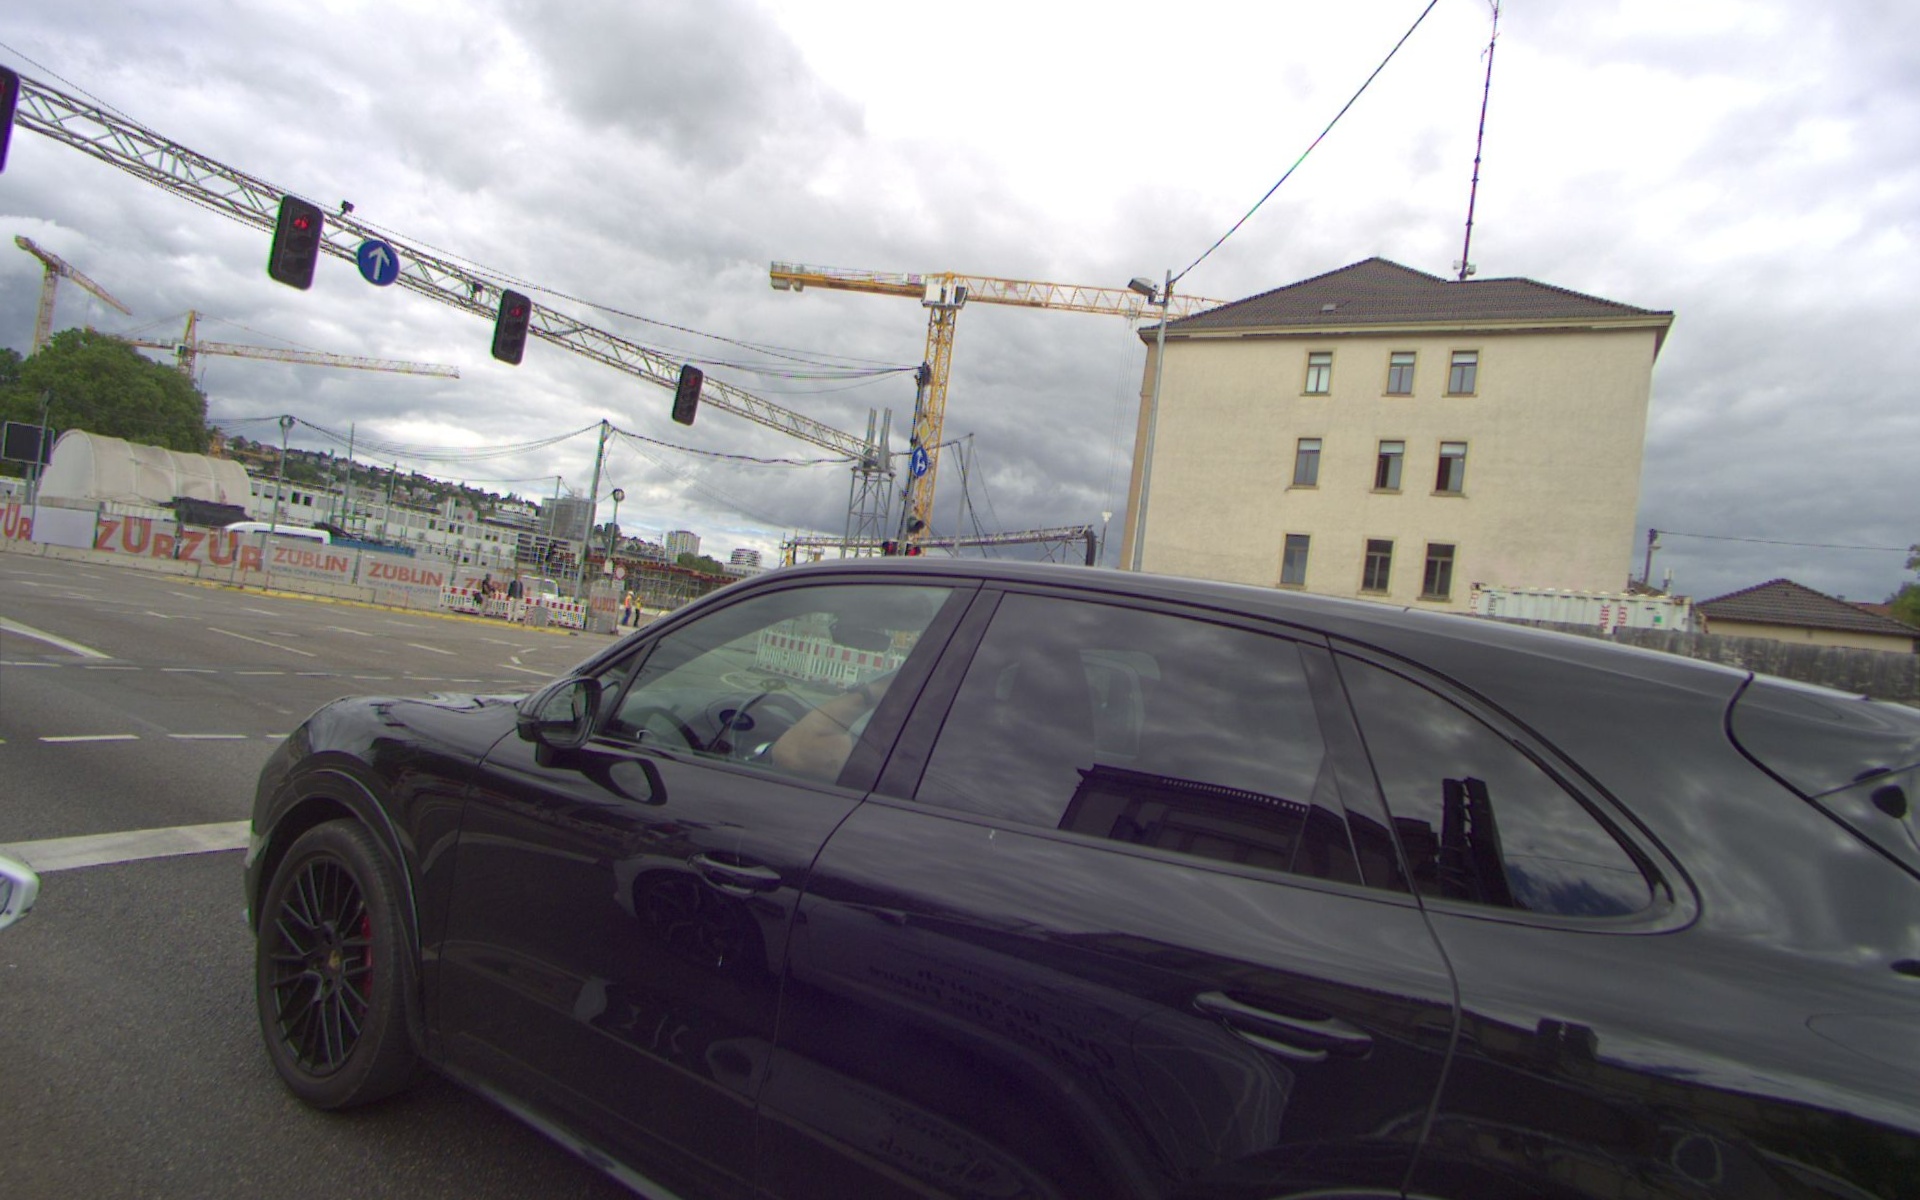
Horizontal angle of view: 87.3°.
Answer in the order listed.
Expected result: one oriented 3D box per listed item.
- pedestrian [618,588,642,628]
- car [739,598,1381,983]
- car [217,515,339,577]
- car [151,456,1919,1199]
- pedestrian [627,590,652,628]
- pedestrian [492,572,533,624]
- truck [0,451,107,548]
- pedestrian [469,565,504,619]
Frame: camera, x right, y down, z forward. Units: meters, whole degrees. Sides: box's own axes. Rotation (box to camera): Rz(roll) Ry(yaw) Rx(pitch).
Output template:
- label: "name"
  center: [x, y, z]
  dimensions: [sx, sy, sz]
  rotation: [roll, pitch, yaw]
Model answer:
- label: "pedestrian"
  center: [-17.643, 0.442, 53.819]
  dimensions: [0.855, 2.037, 0.677]
  rotation: [6, -1, 44]
- label: "car"
  center: [0.581, 1.000, 6.547]
  dimensions: [3.587, 1.527, 1.825]
  rotation: [6, -2, 33]
- label: "car"
  center: [-29.526, -2.330, 43.635]
  dimensions: [3.976, 2.037, 1.976]
  rotation: [9, -2, -43]
- label: "car"
  center: [0.001, 0.691, 2.711]
  dimensions: [4.505, 1.687, 1.996]
  rotation: [6, -2, 34]
- label: "pedestrian"
  center: [-17.368, 0.495, 54.539]
  dimensions: [0.850, 1.938, 0.680]
  rotation: [7, -1, 26]
- label: "pedestrian"
  center: [-17.430, -0.085, 39.190]
  dimensions: [1.040, 1.869, 0.781]
  rotation: [8, -1, -42]
- label: "truck"
  center: [-57.719, -6.349, 60.212]
  dimensions: [3.054, 5.017, 9.759]
  rotation: [7, -2, 14]
- label: "pedestrian"
  center: [-19.198, -0.339, 40.811]
  dimensions: [1.021, 2.037, 1.041]
  rotation: [8, -1, -23]
